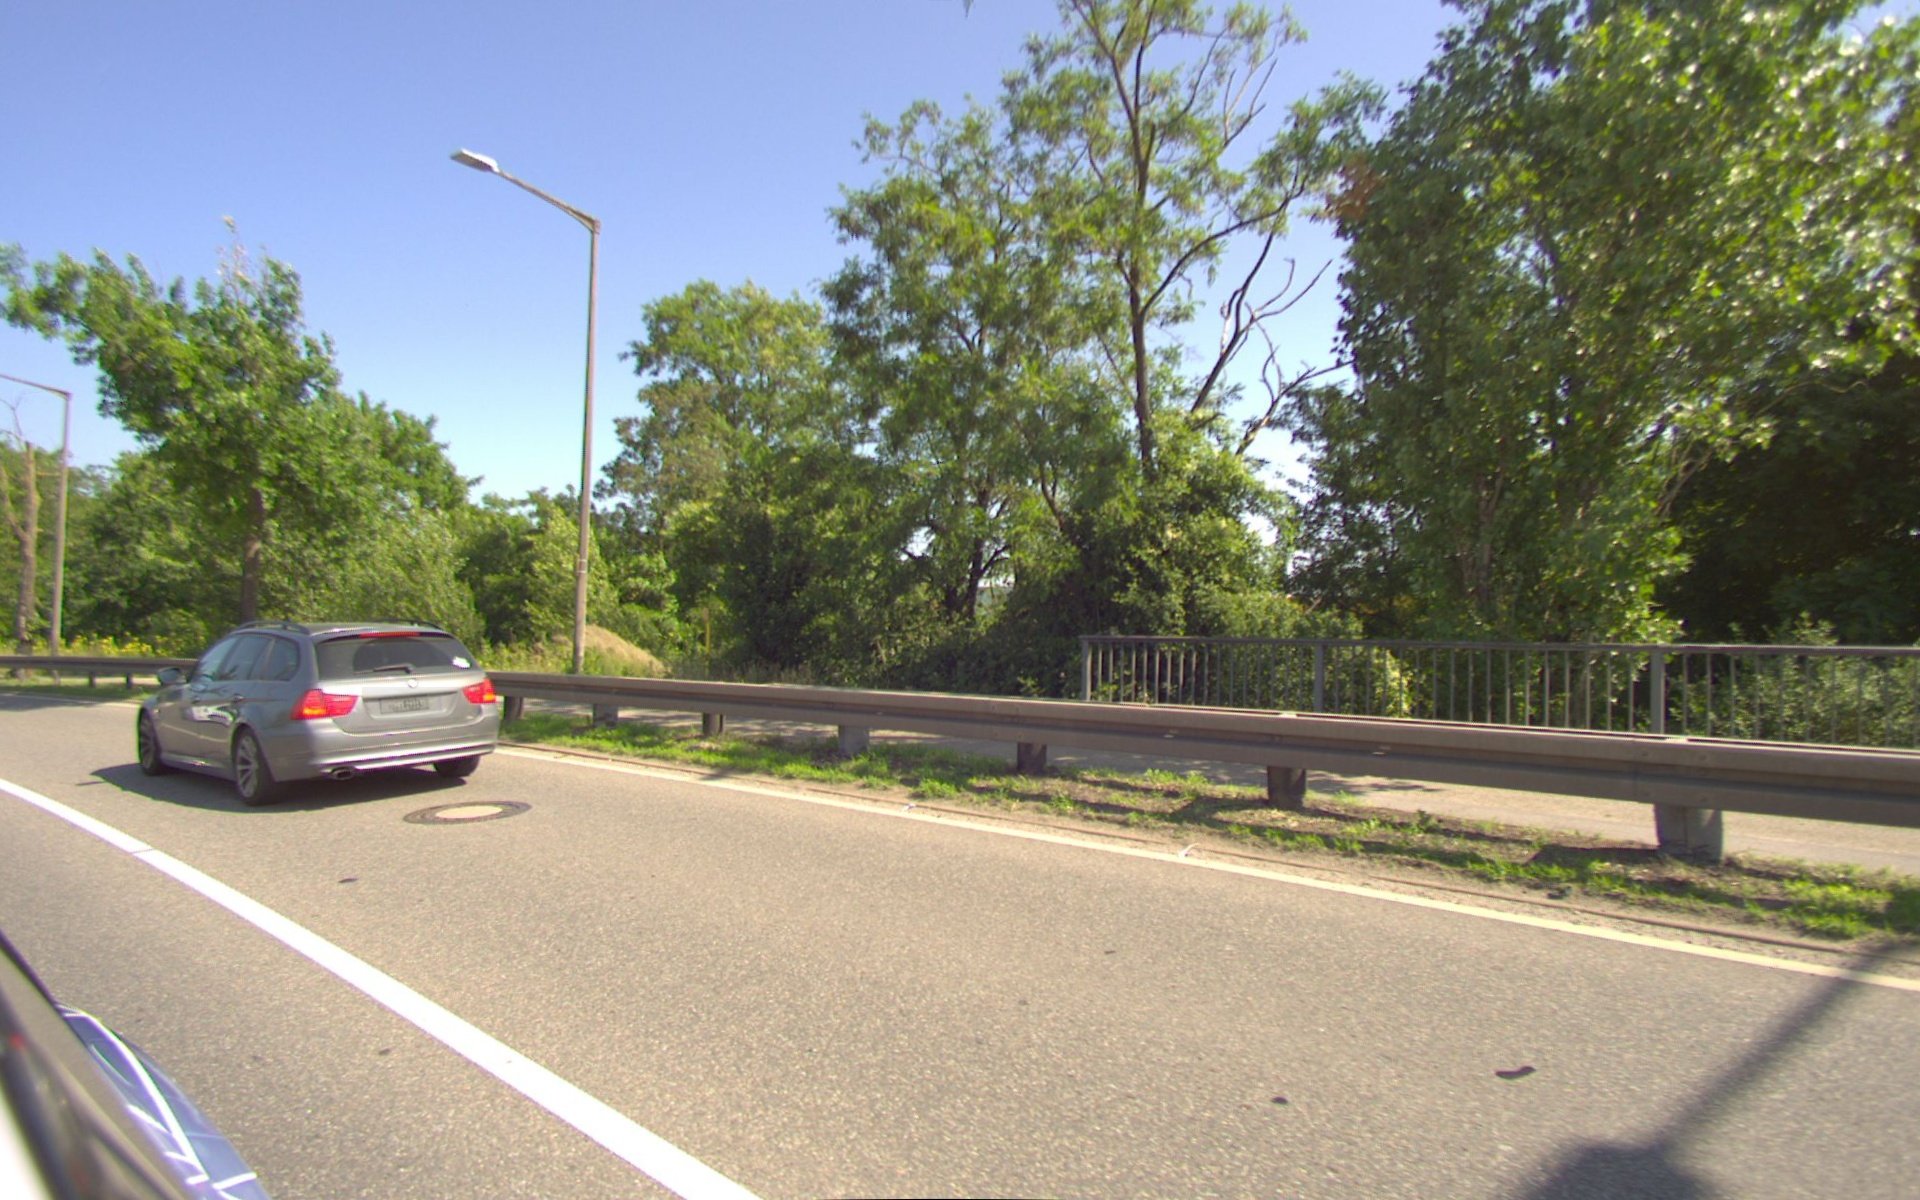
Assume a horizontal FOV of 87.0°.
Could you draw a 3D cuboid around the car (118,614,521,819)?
[{"bbox_3d":[-5.833,0.869,9.027,4.175,1.408,1.701,-2,-1,37],"label":"car"}]
